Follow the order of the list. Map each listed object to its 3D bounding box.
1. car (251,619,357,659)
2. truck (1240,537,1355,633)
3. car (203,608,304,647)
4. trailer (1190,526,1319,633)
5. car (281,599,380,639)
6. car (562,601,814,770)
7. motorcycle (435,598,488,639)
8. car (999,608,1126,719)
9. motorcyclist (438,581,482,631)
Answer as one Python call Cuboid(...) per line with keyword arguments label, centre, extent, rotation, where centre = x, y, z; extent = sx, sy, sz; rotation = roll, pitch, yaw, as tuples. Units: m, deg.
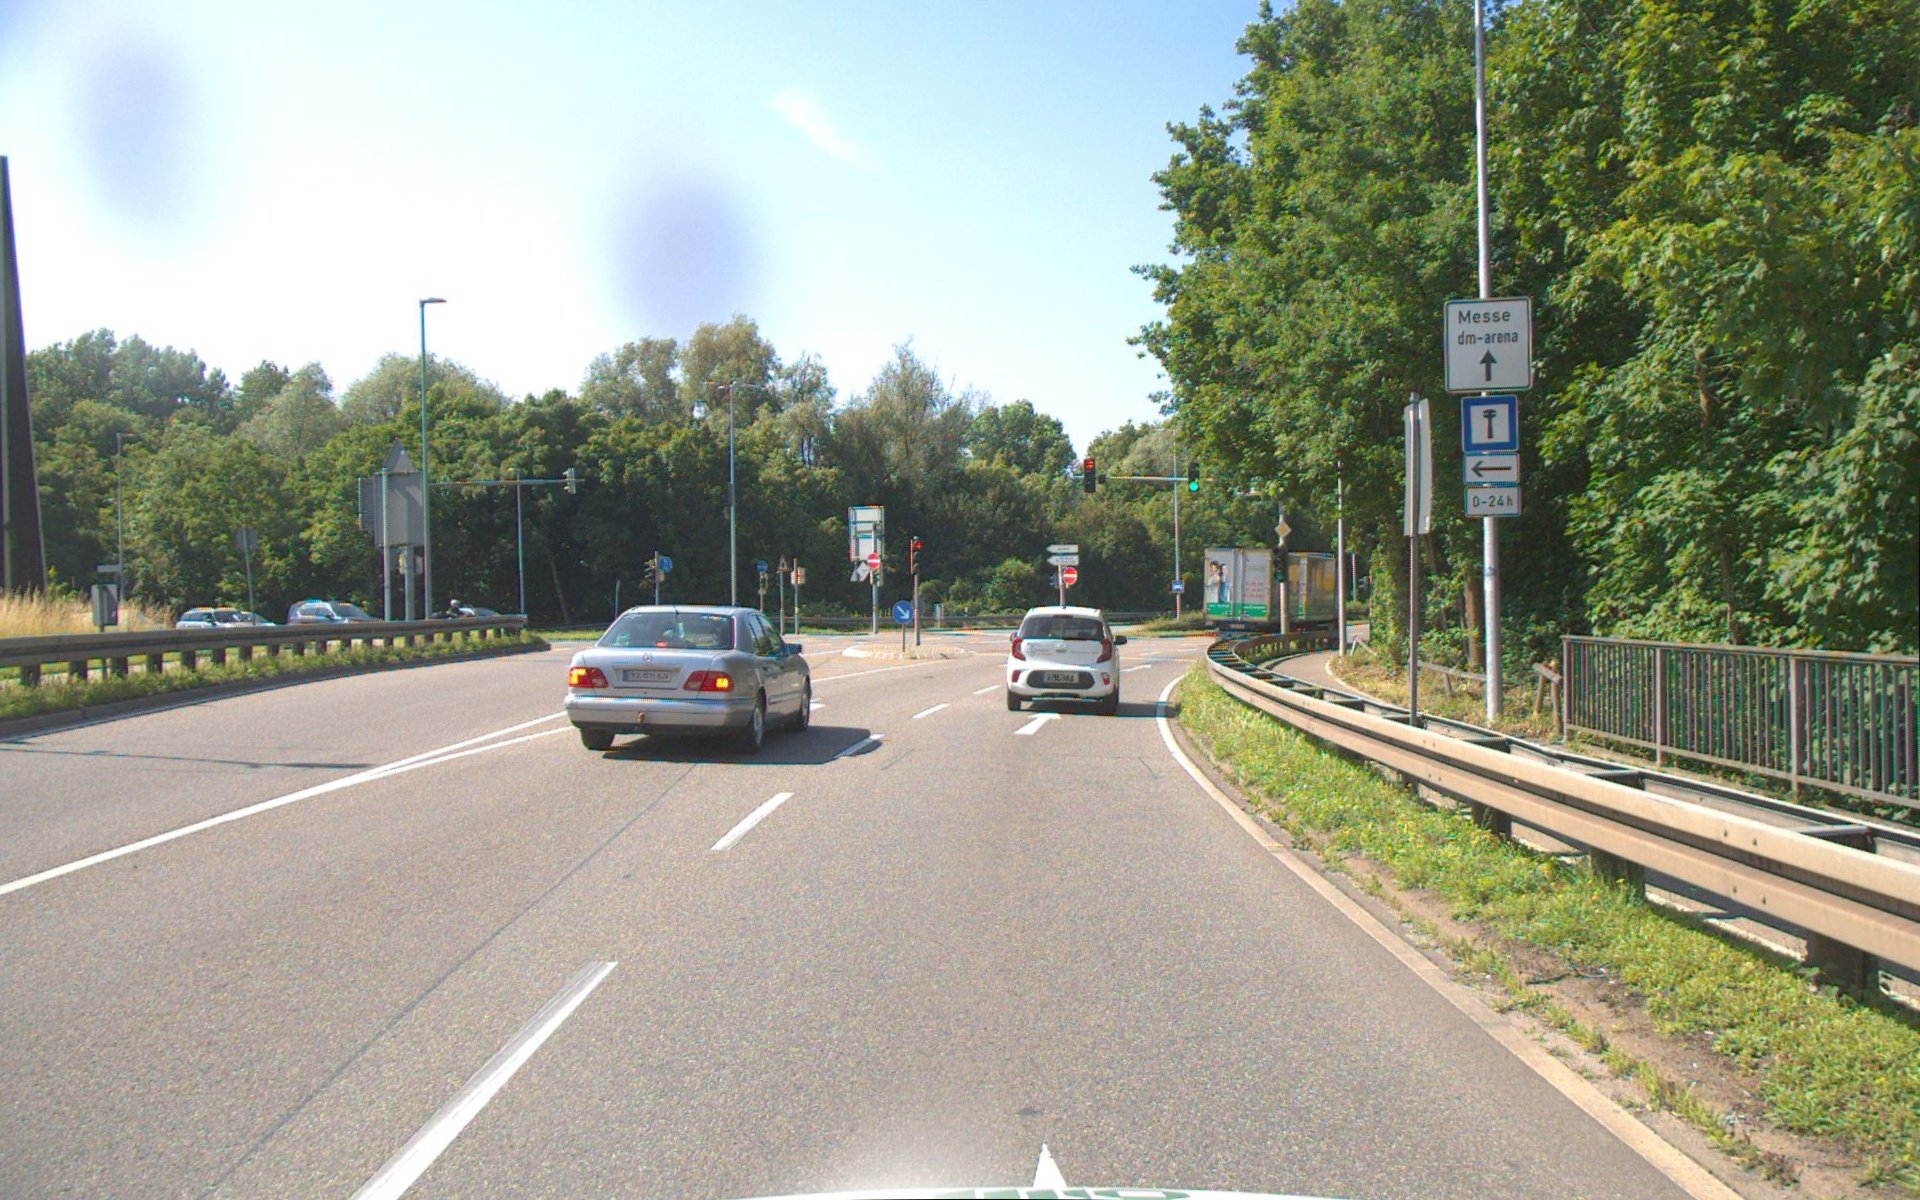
Cuboid(label="car", centre=(-27.089, 1.641, 68.279), extent=(3.912, 1.413, 2.119), rotation=(-4, -4, 30))
Cuboid(label="truck", centre=(14.829, -0.570, 72.110), extent=(3.195, 3.824, 8.367), rotation=(2, 0, 23))
Cuboid(label="car", centre=(-30.447, 1.203, 71.276), extent=(3.912, 1.413, 2.119), rotation=(-4, -4, 30))
Cuboid(label="trailer", centre=(11.626, -0.713, 64.677), extent=(3.159, 3.824, 7.821), rotation=(2, 0, 23))
Cuboid(label="car", centre=(-25.773, 0.800, 67.690), extent=(3.912, 1.413, 1.764), rotation=(-4, -4, 30))
Cuboid(label="car", centre=(-2.696, 0.789, 17.548), extent=(1.899, 1.512, 4.899), rotation=(1, 0, -1))
Cuboid(label="motorcycle", centre=(-19.783, 0.741, 65.589), extent=(1.938, 1.556, 0.898), rotation=(-3, -3, 28))
Cuboid(label="car", centre=(1.486, 0.910, 25.192), extent=(1.667, 1.520, 4.000), rotation=(1, -1, 0))
Cuboid(label="motorcyclist", centre=(-19.820, 0.264, 65.611), extent=(1.431, 1.903, 0.891), rotation=(-3, -3, 28))
